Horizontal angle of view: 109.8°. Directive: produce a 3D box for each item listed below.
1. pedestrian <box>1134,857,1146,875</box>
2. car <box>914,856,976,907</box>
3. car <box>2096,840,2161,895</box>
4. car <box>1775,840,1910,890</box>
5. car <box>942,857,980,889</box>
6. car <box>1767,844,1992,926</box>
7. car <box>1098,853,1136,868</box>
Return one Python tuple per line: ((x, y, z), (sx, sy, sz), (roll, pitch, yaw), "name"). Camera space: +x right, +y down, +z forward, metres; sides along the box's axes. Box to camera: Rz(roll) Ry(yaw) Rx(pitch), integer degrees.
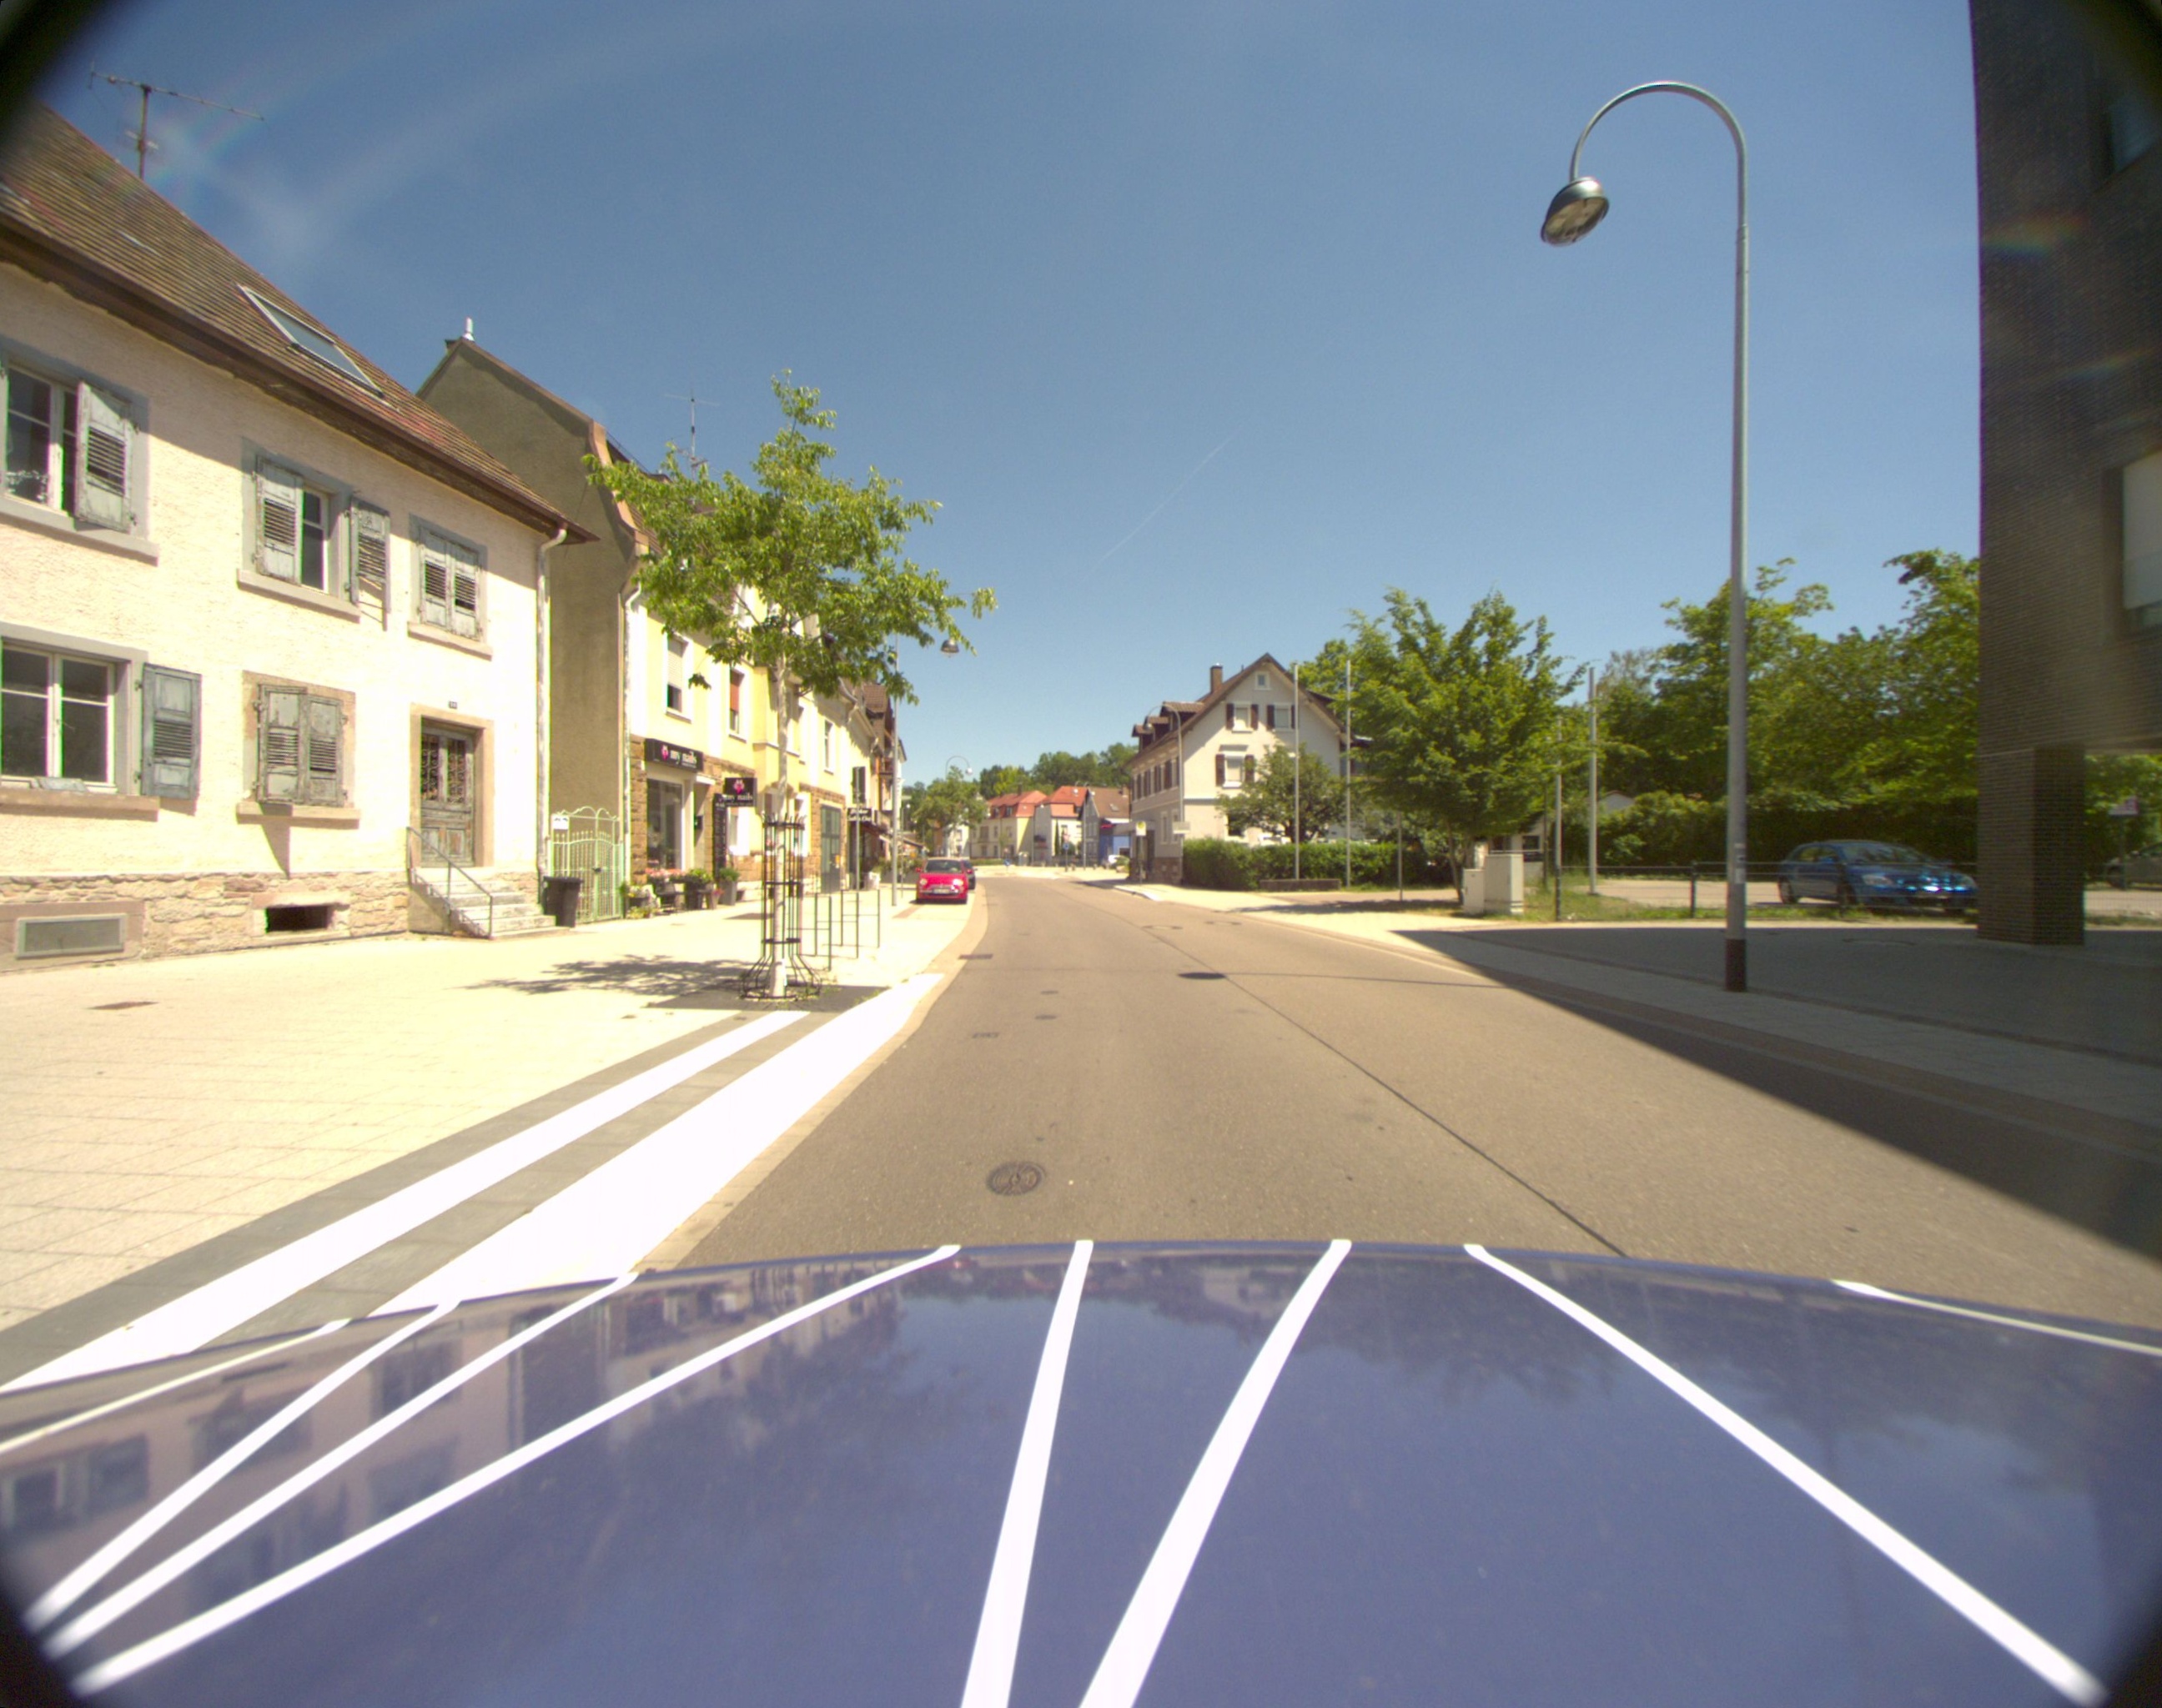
((3.641, 0.745, 47.039), (0.598, 1.053, 0.566), (-1, 1, -11), "pedestrian")
((-4.421, 0.852, 25.084), (1.684, 1.505, 3.385), (2, 0, -6), "car")
((30.586, 0.365, 20.877), (1.687, 1.483, 3.774), (-1, 0, 26), "car")
((24.610, 0.338, 24.739), (1.687, 1.483, 3.773), (-1, 0, 20), "car")
((-6.042, 0.915, 38.124), (1.736, 1.464, 4.319), (2, 0, -9), "car")
((16.394, 0.553, 15.906), (1.696, 1.477, 4.086), (-1, 0, 22), "car")
((3.988, 0.700, 84.459), (1.994, 1.586, 4.199), (-1, 0, 42), "car")
